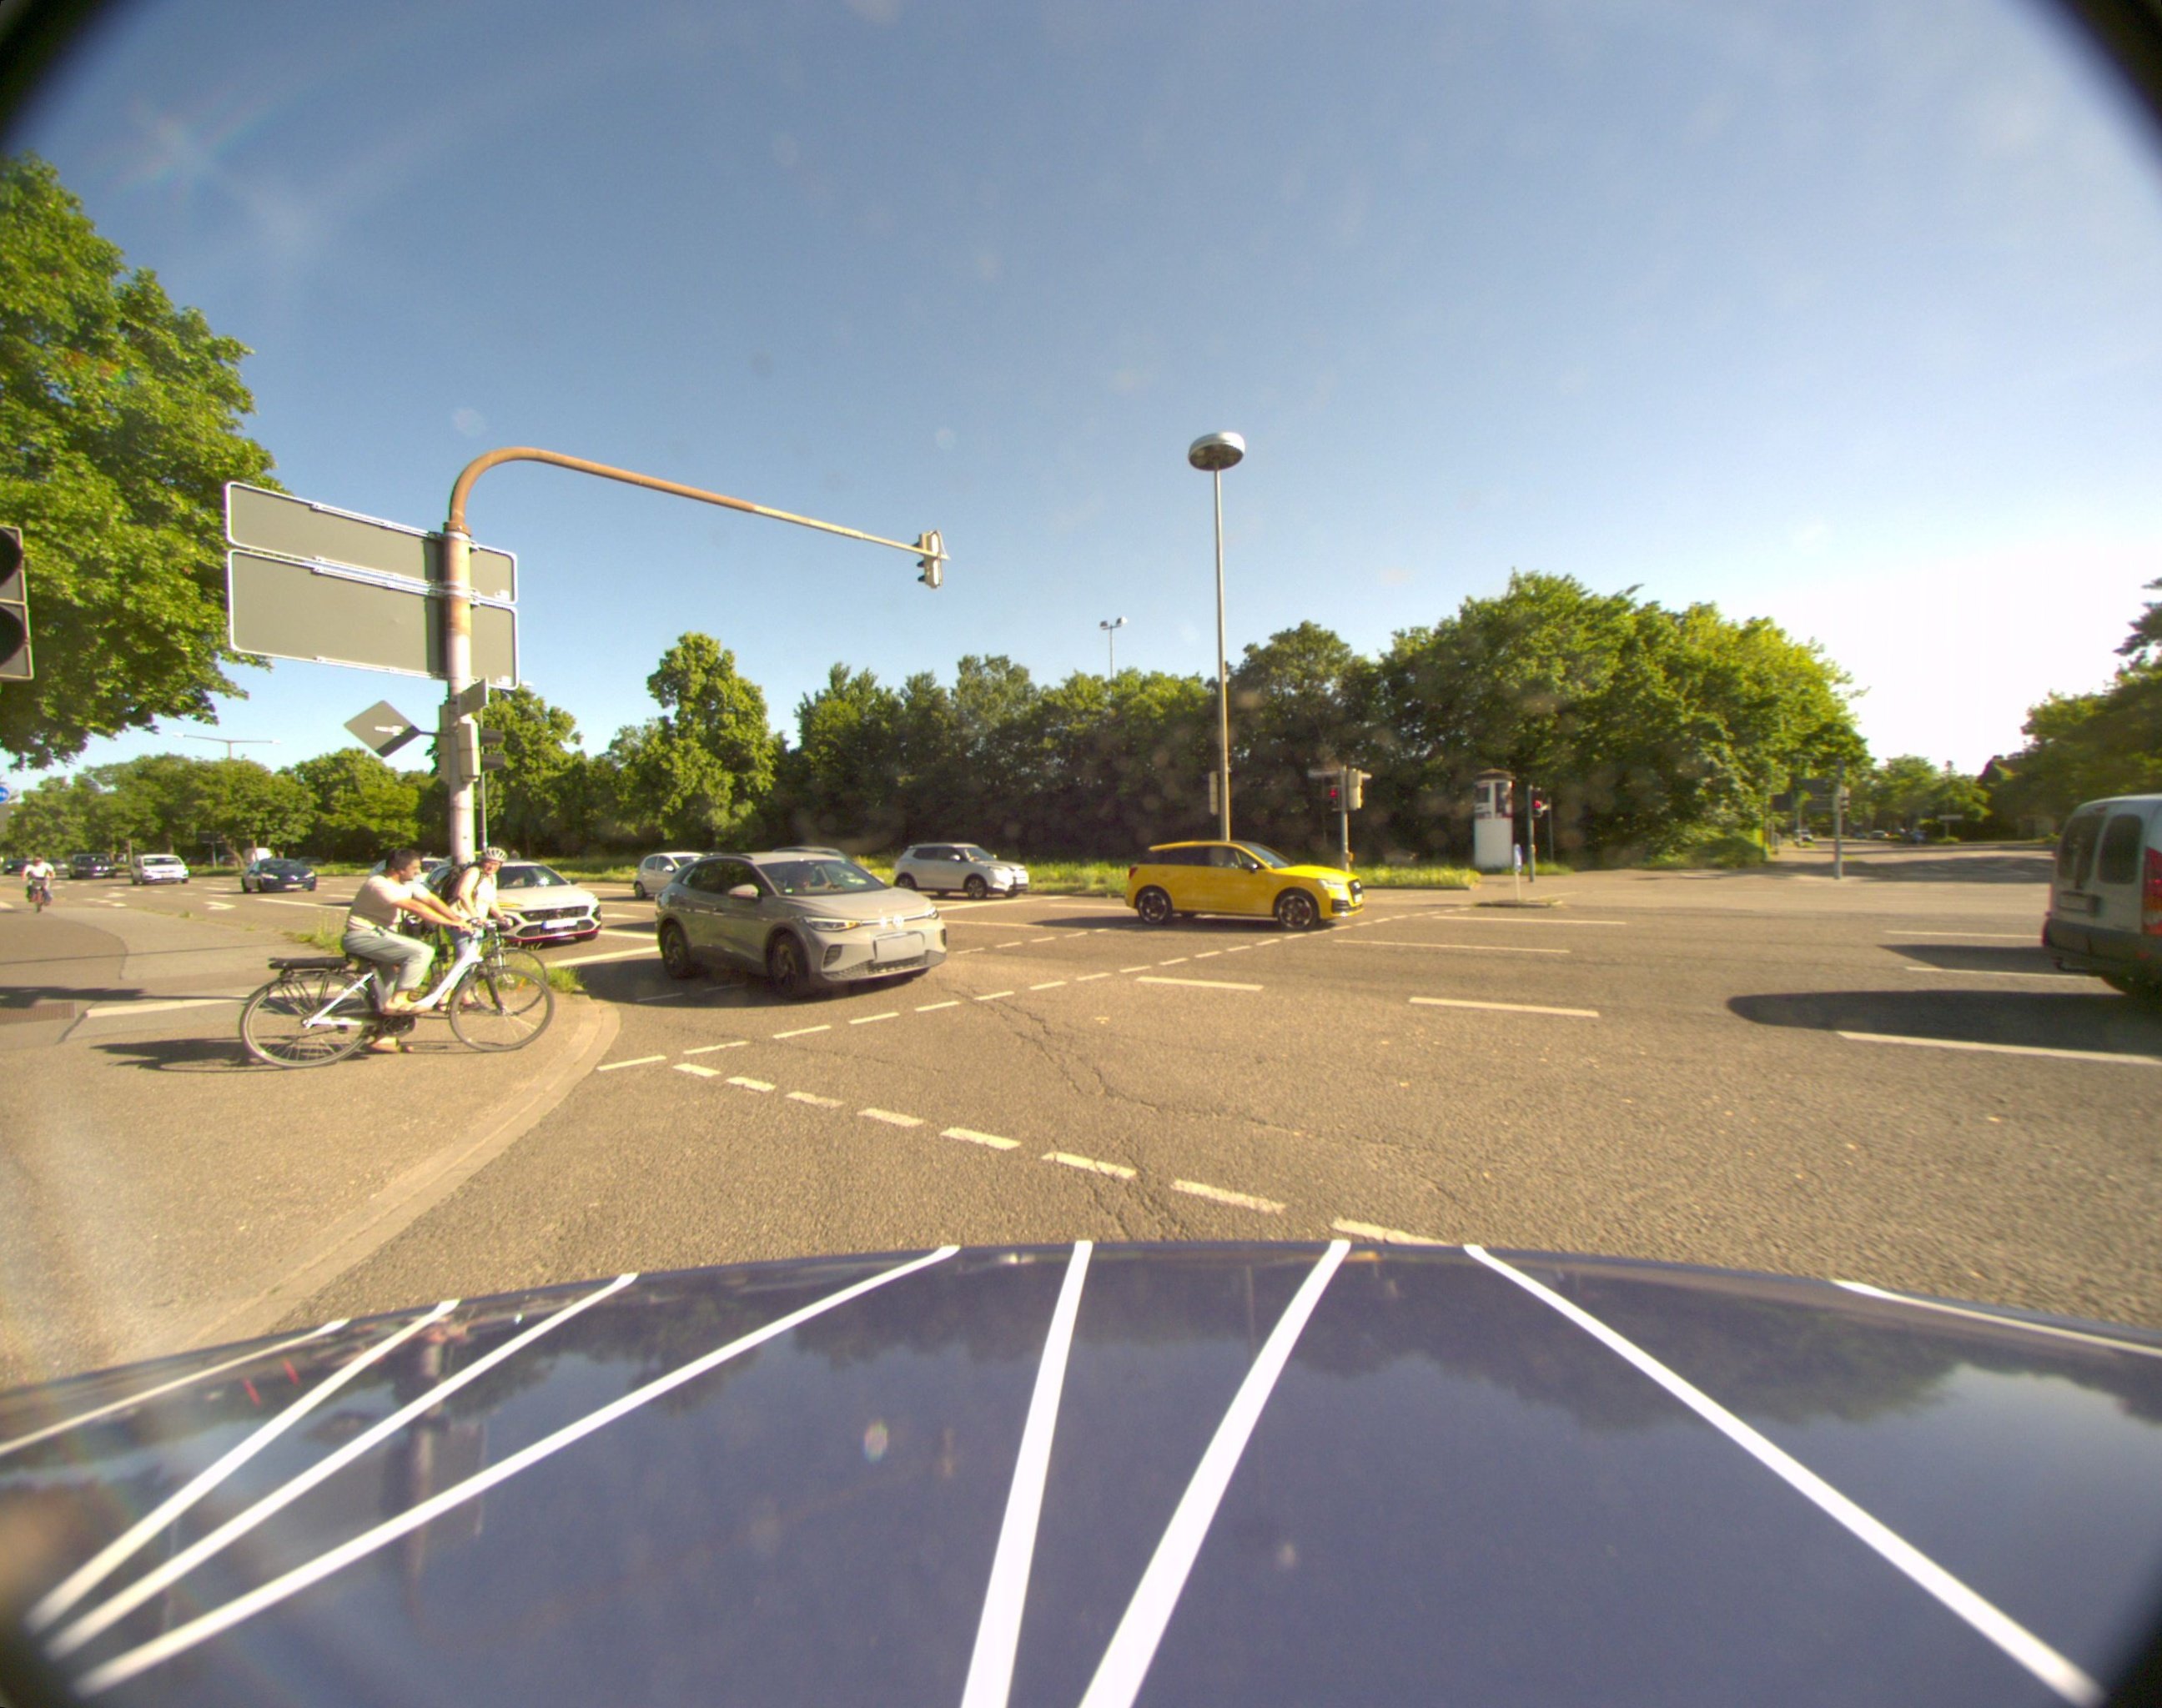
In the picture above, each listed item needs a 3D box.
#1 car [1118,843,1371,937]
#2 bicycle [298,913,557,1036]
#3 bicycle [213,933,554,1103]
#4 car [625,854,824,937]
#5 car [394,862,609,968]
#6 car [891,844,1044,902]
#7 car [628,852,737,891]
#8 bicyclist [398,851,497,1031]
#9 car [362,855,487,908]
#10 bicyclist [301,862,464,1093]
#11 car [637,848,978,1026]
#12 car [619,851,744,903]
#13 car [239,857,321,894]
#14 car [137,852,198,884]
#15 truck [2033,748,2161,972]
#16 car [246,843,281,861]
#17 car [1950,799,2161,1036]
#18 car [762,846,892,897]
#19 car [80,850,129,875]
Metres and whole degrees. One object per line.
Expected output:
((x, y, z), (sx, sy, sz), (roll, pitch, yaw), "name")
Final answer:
((2.890, 0.549, 13.683), (4.109, 1.432, 1.696), (0, 2, 32), "car")
((-6.361, 1.152, 7.495), (1.872, 1.070, 0.530), (2, 2, -18), "bicycle")
((-5.292, 1.202, 5.943), (1.874, 1.070, 0.529), (3, 1, -34), "bicycle")
((-7.878, 0.803, 16.677), (4.352, 1.478, 1.924), (0, 4, 34), "car")
((-10.681, 0.989, 13.943), (4.109, 1.565, 1.695), (0, 4, 32), "car")
((-3.326, 0.500, 22.092), (4.183, 1.529, 1.840), (0, 1, 32), "car")
((-15.669, 0.638, 29.832), (4.343, 1.397, 1.840), (0, 2, 32), "car")
((-6.247, 0.832, 7.514), (0.586, 1.687, 0.526), (2, 2, -18), "bicyclist")
((-21.506, 0.829, 24.854), (4.352, 1.478, 1.924), (0, 4, 34), "car")
((-5.350, 0.907, 5.873), (0.809, 1.626, 0.541), (3, 1, -35), "bicyclist")
((-3.578, 0.803, 9.588), (4.351, 1.631, 1.997), (1, 4, 39), "car")
((-12.717, 0.676, 24.119), (3.901, 1.432, 1.695), (0, 4, 32), "car")
((-35.845, 0.915, 34.004), (3.901, 1.432, 1.695), (0, 4, 32), "car")
((-56.785, 0.829, 47.238), (3.901, 1.788, 1.802), (0, 4, 32), "car")
((14.455, 0.031, 6.978), (6.755, 2.296, 2.196), (0, 1, 32), "truck")
((-99.218, -0.274, 92.186), (4.526, 2.073, 1.921), (0, 4, 33), "car")
((9.879, 0.432, 5.477), (4.352, 1.719, 1.923), (0, 4, 33), "car")
((-8.618, 0.540, 25.726), (4.231, 1.566, 1.883), (0, 2, 32), "car")
((-77.183, 0.657, 60.051), (3.901, 1.788, 1.844), (0, 4, 32), "car")
